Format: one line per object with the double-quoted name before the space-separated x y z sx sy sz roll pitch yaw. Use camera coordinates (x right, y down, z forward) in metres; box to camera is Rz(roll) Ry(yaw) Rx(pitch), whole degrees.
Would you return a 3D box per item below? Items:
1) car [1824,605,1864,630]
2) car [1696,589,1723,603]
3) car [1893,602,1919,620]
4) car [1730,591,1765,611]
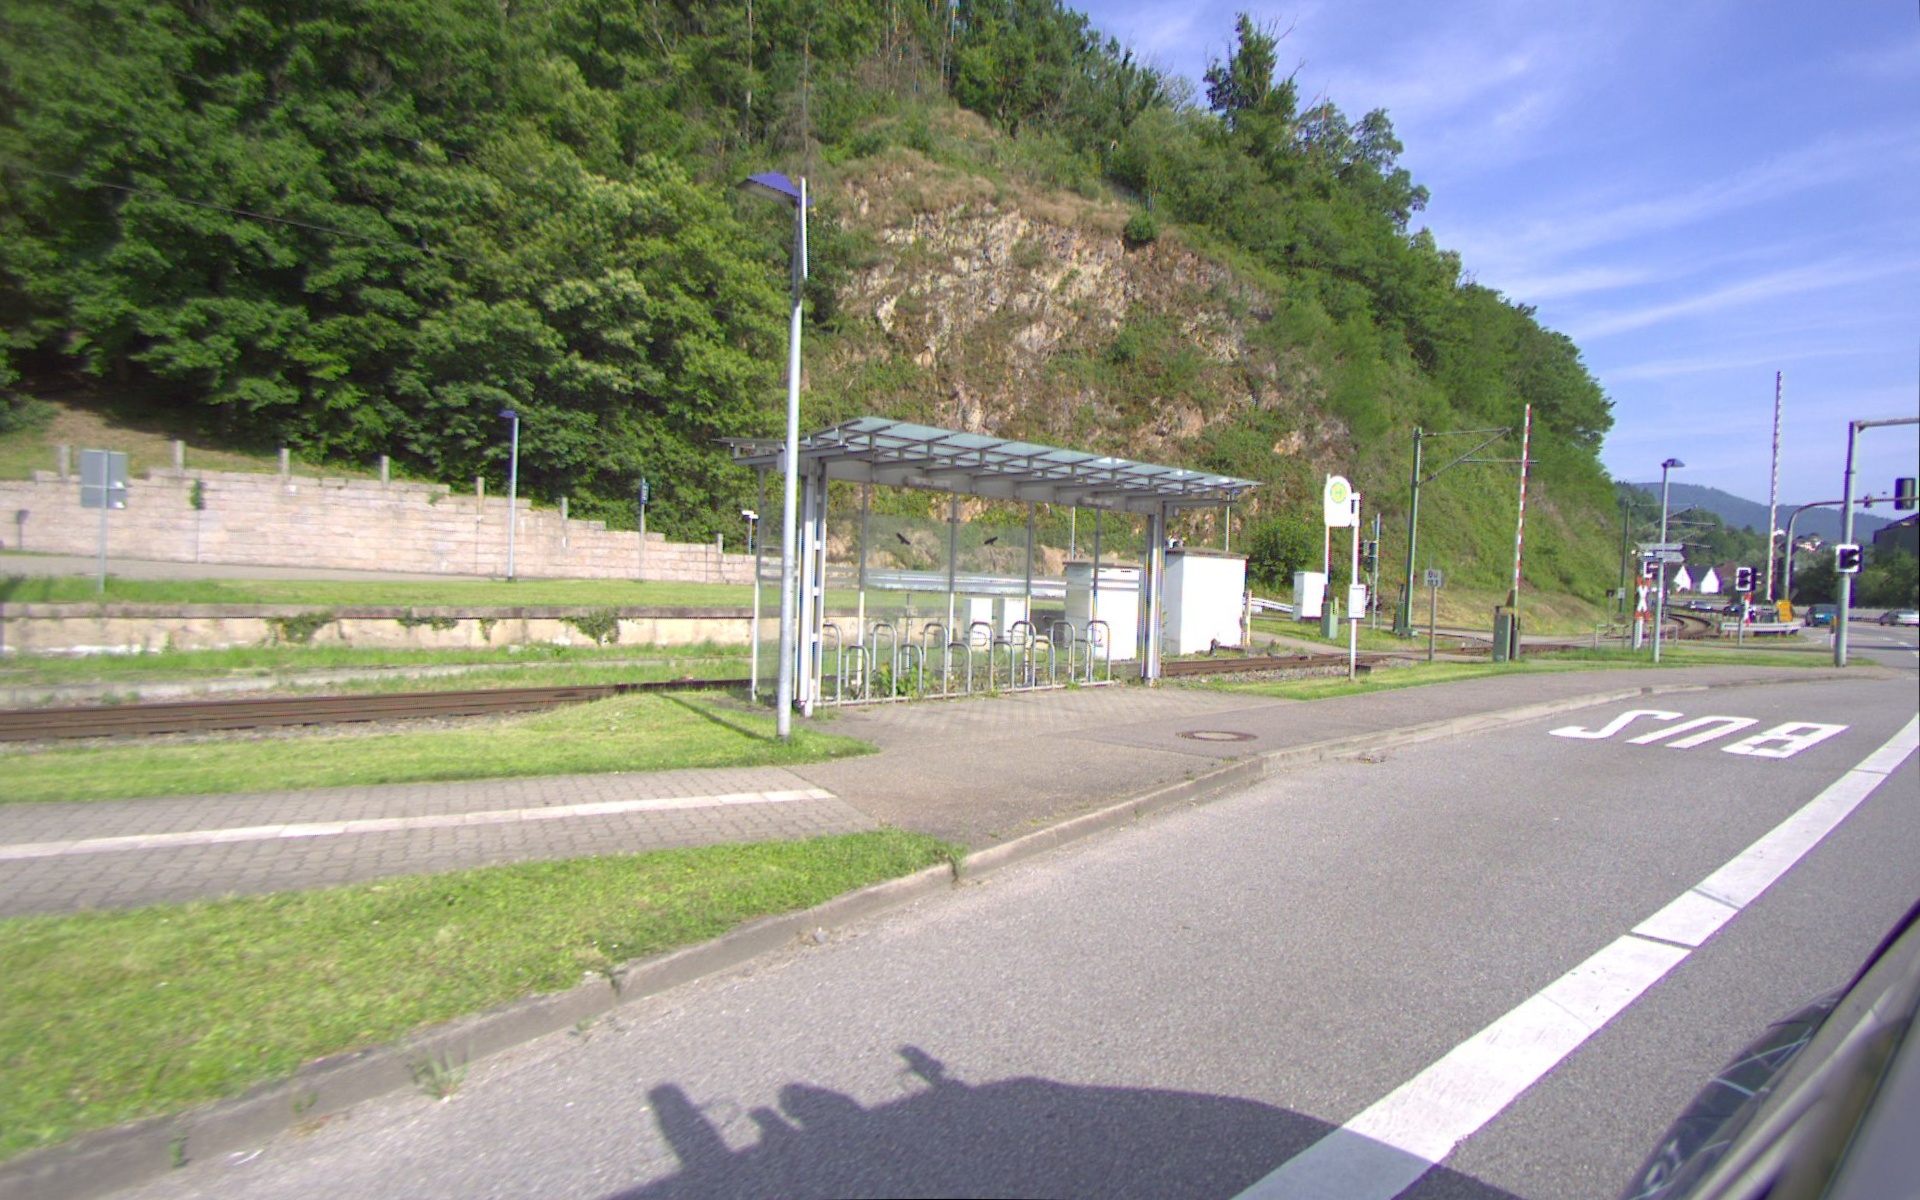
"car" 60.290 1.176 69.082 1.760 1.478 3.528 4 3 38
"car" 88.075 -0.452 118.937 1.860 1.478 3.694 3 3 28
"car" 70.830 0.809 75.038 1.638 1.247 4.048 1 1 31
"car" 77.972 0.075 100.259 1.981 1.816 3.961 1 1 28
